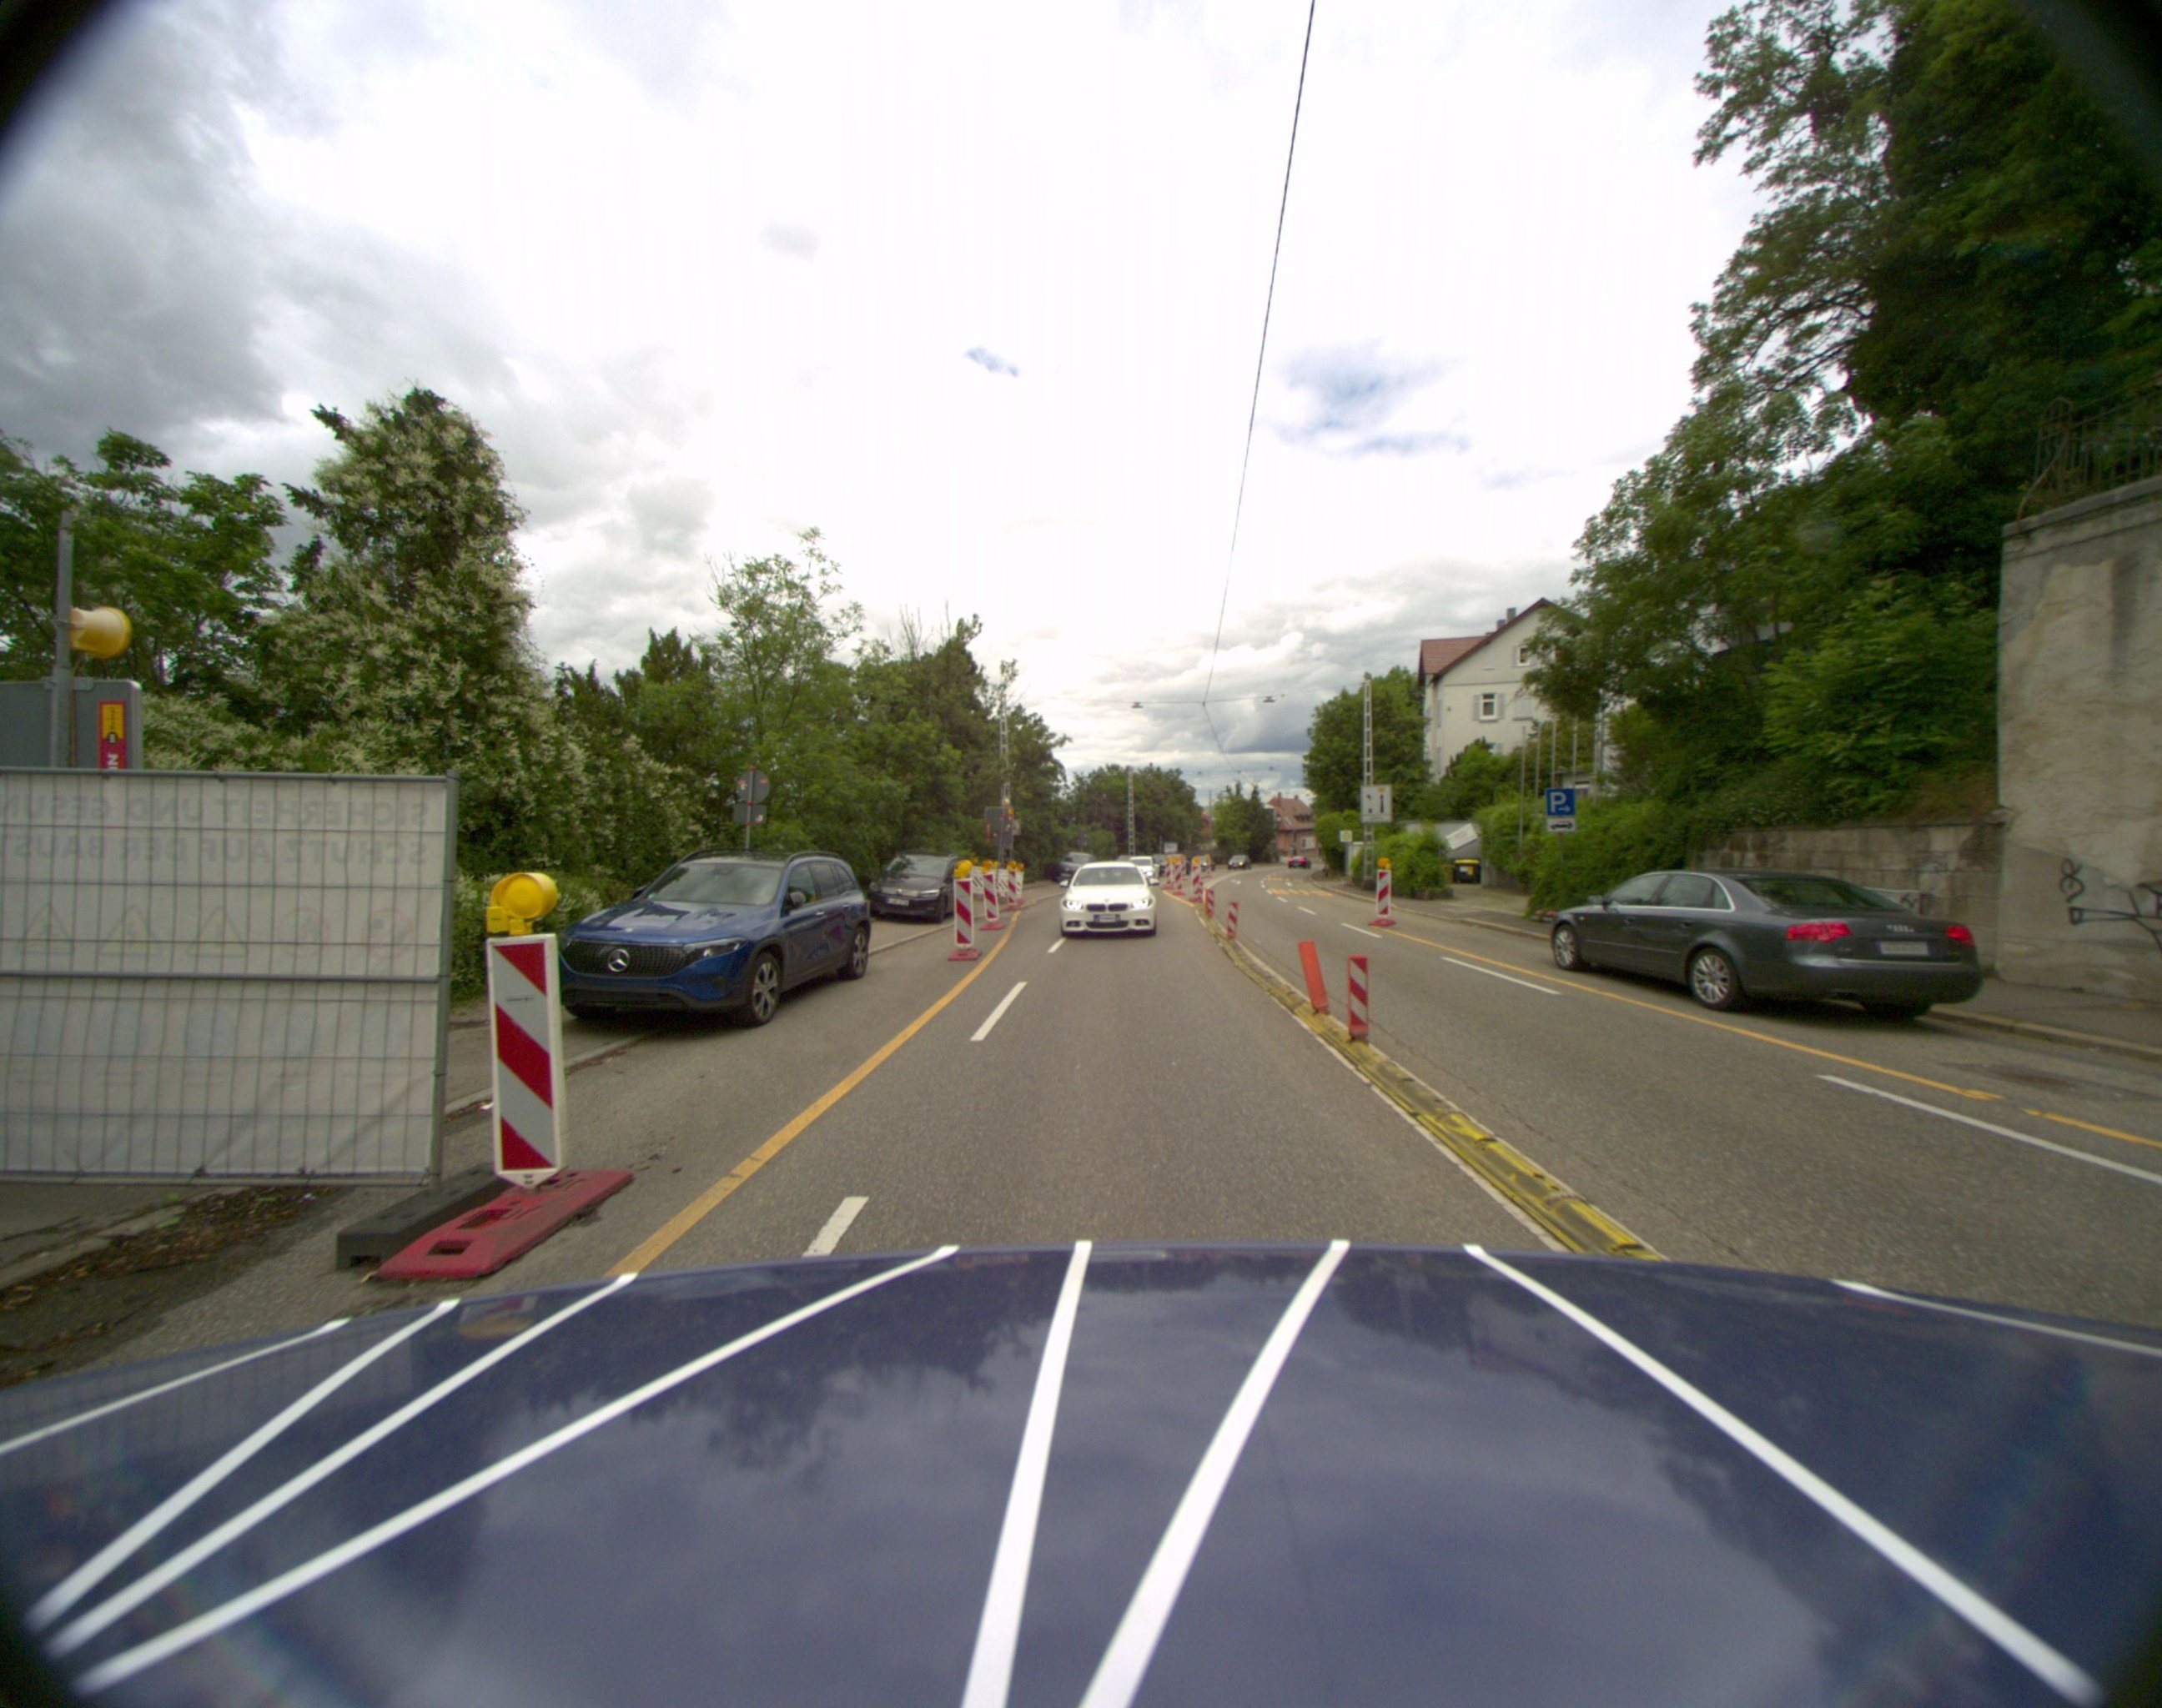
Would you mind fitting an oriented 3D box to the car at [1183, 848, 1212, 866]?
[{"bbox_3d":[10.296,0.265,66.886,1.796,1.501,4.005,-1,1,20],"label":"car"}]

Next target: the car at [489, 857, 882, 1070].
[{"bbox_3d":[-3.835,0.898,8.466,1.843,1.633,4.503,2,1,3],"label":"car"}]

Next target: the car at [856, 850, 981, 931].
[{"bbox_3d":[-3.970,0.812,19.452,1.866,1.664,4.647,4,1,3],"label":"car"}]

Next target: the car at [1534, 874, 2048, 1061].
[{"bbox_3d":[7.126,0.985,8.449,1.803,1.365,4.389,1,0,4],"label":"car"}]

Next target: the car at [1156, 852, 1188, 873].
[{"bbox_3d":[6.935,0.642,57.764,1.796,1.501,4.005,1,1,15],"label":"car"}]

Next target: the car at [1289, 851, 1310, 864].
[{"bbox_3d":[25.154,0.411,87.279,1.822,1.383,4.445,2,1,22],"label":"car"}]

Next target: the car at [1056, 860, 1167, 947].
[{"bbox_3d":[0.496,0.927,16.076,1.793,1.472,4.242,-2,0,-5],"label":"car"}]

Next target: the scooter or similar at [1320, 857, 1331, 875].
[{"bbox_3d":[17.525,0.843,54.420,0.429,1.202,1.282,-3,0,6],"label":"scooter or similar"}]

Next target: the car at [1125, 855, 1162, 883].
[{"bbox_3d":[3.704,0.826,44.120,1.791,1.542,4.248,-1,0,9],"label":"car"}]

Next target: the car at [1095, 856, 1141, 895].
[{"bbox_3d":[1.647,0.882,32.743,1.791,1.472,4.246,-2,0,5],"label":"car"}]

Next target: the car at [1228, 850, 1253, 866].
[{"bbox_3d":[16.018,0.400,76.275,1.789,1.472,4.251,-1,0,21],"label":"car"}]

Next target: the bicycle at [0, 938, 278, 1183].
[{"bbox_3d":[-5.770,1.132,4.301,0.500,1.101,1.800,2,0,2],"label":"bicycle"}]

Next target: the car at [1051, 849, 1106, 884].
[{"bbox_3d":[-0.071,0.650,41.495,1.855,1.664,4.284,5,2,15],"label":"car"}]
